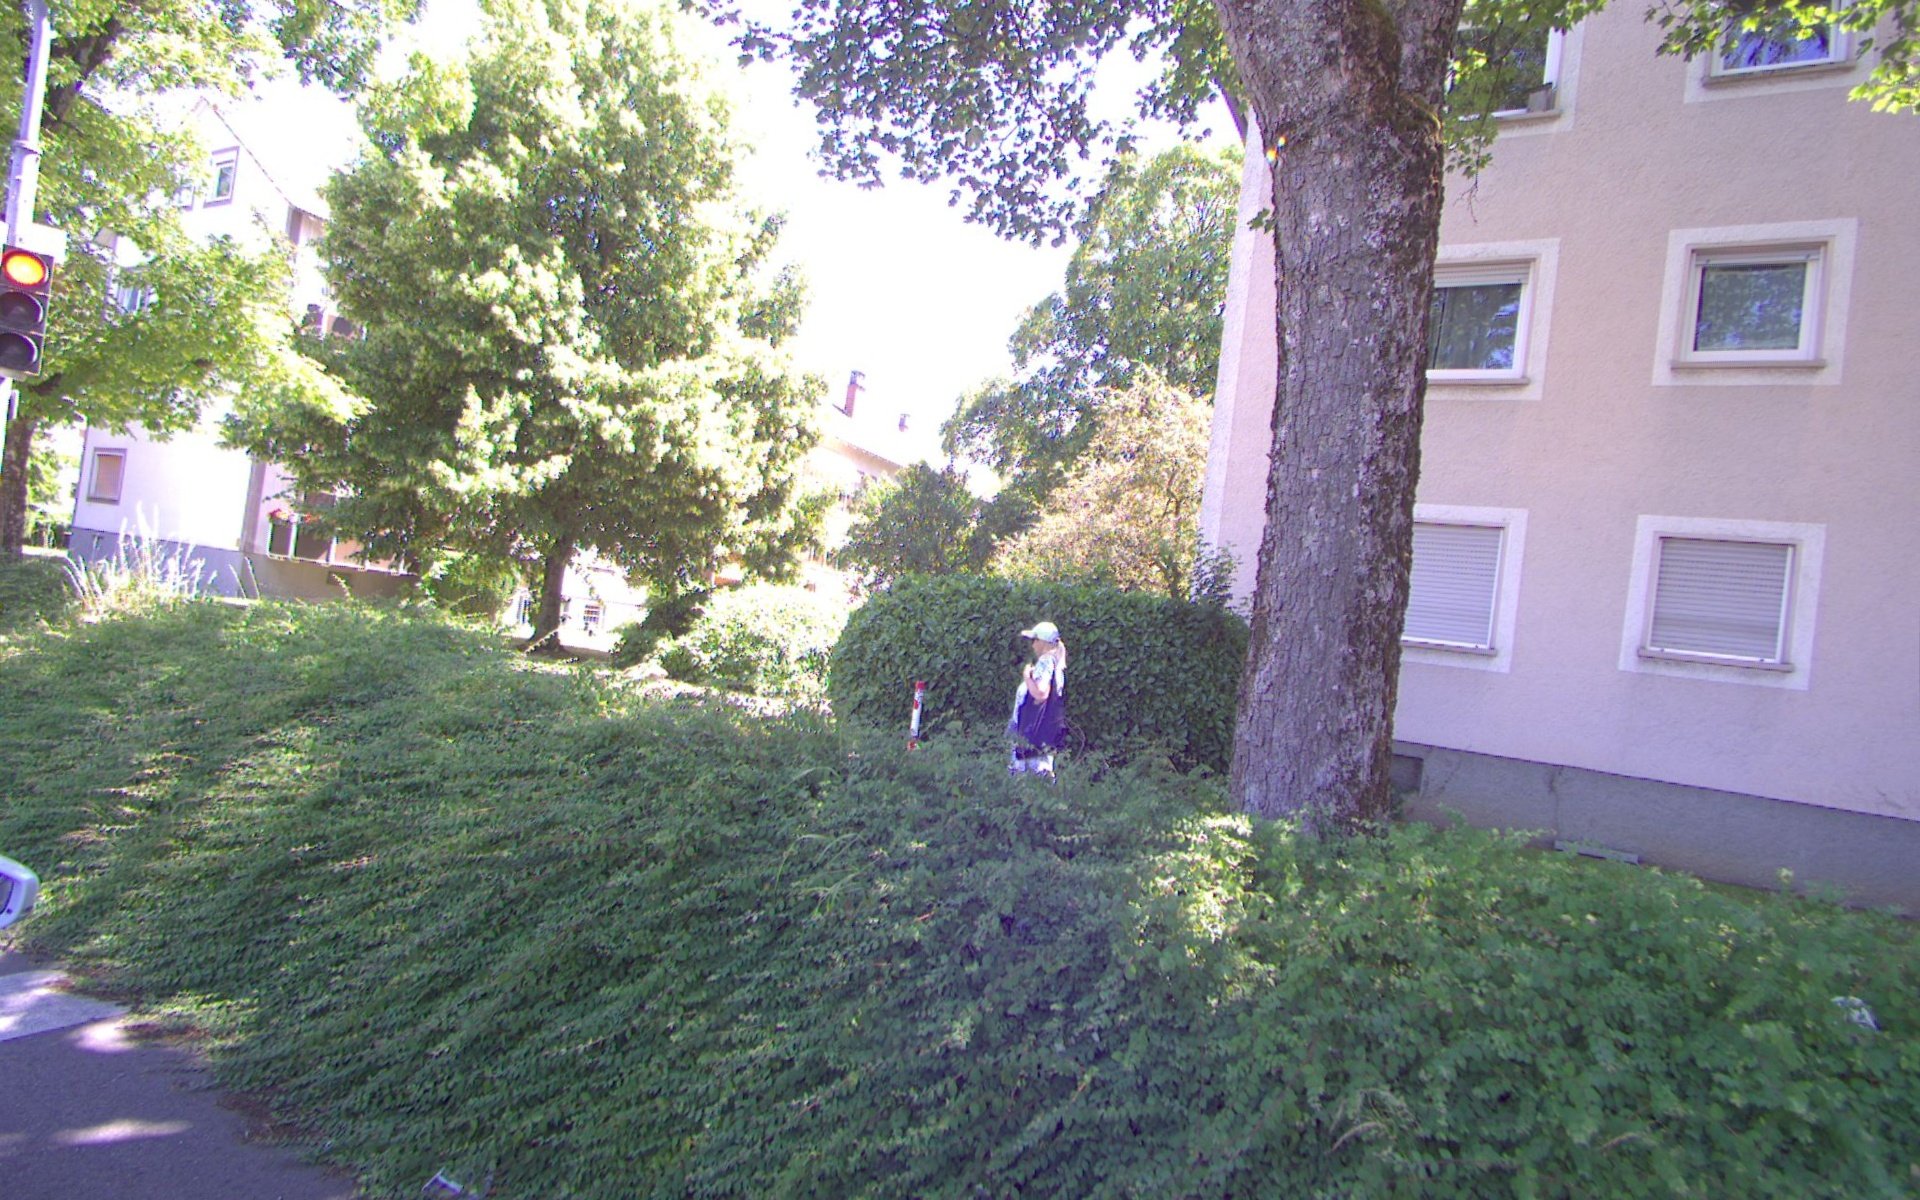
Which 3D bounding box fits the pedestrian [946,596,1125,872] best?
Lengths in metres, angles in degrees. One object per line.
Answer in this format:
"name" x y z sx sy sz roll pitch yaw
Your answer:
"pedestrian" 0.525 0.865 6.793 0.836 1.653 0.720 7 0 23
